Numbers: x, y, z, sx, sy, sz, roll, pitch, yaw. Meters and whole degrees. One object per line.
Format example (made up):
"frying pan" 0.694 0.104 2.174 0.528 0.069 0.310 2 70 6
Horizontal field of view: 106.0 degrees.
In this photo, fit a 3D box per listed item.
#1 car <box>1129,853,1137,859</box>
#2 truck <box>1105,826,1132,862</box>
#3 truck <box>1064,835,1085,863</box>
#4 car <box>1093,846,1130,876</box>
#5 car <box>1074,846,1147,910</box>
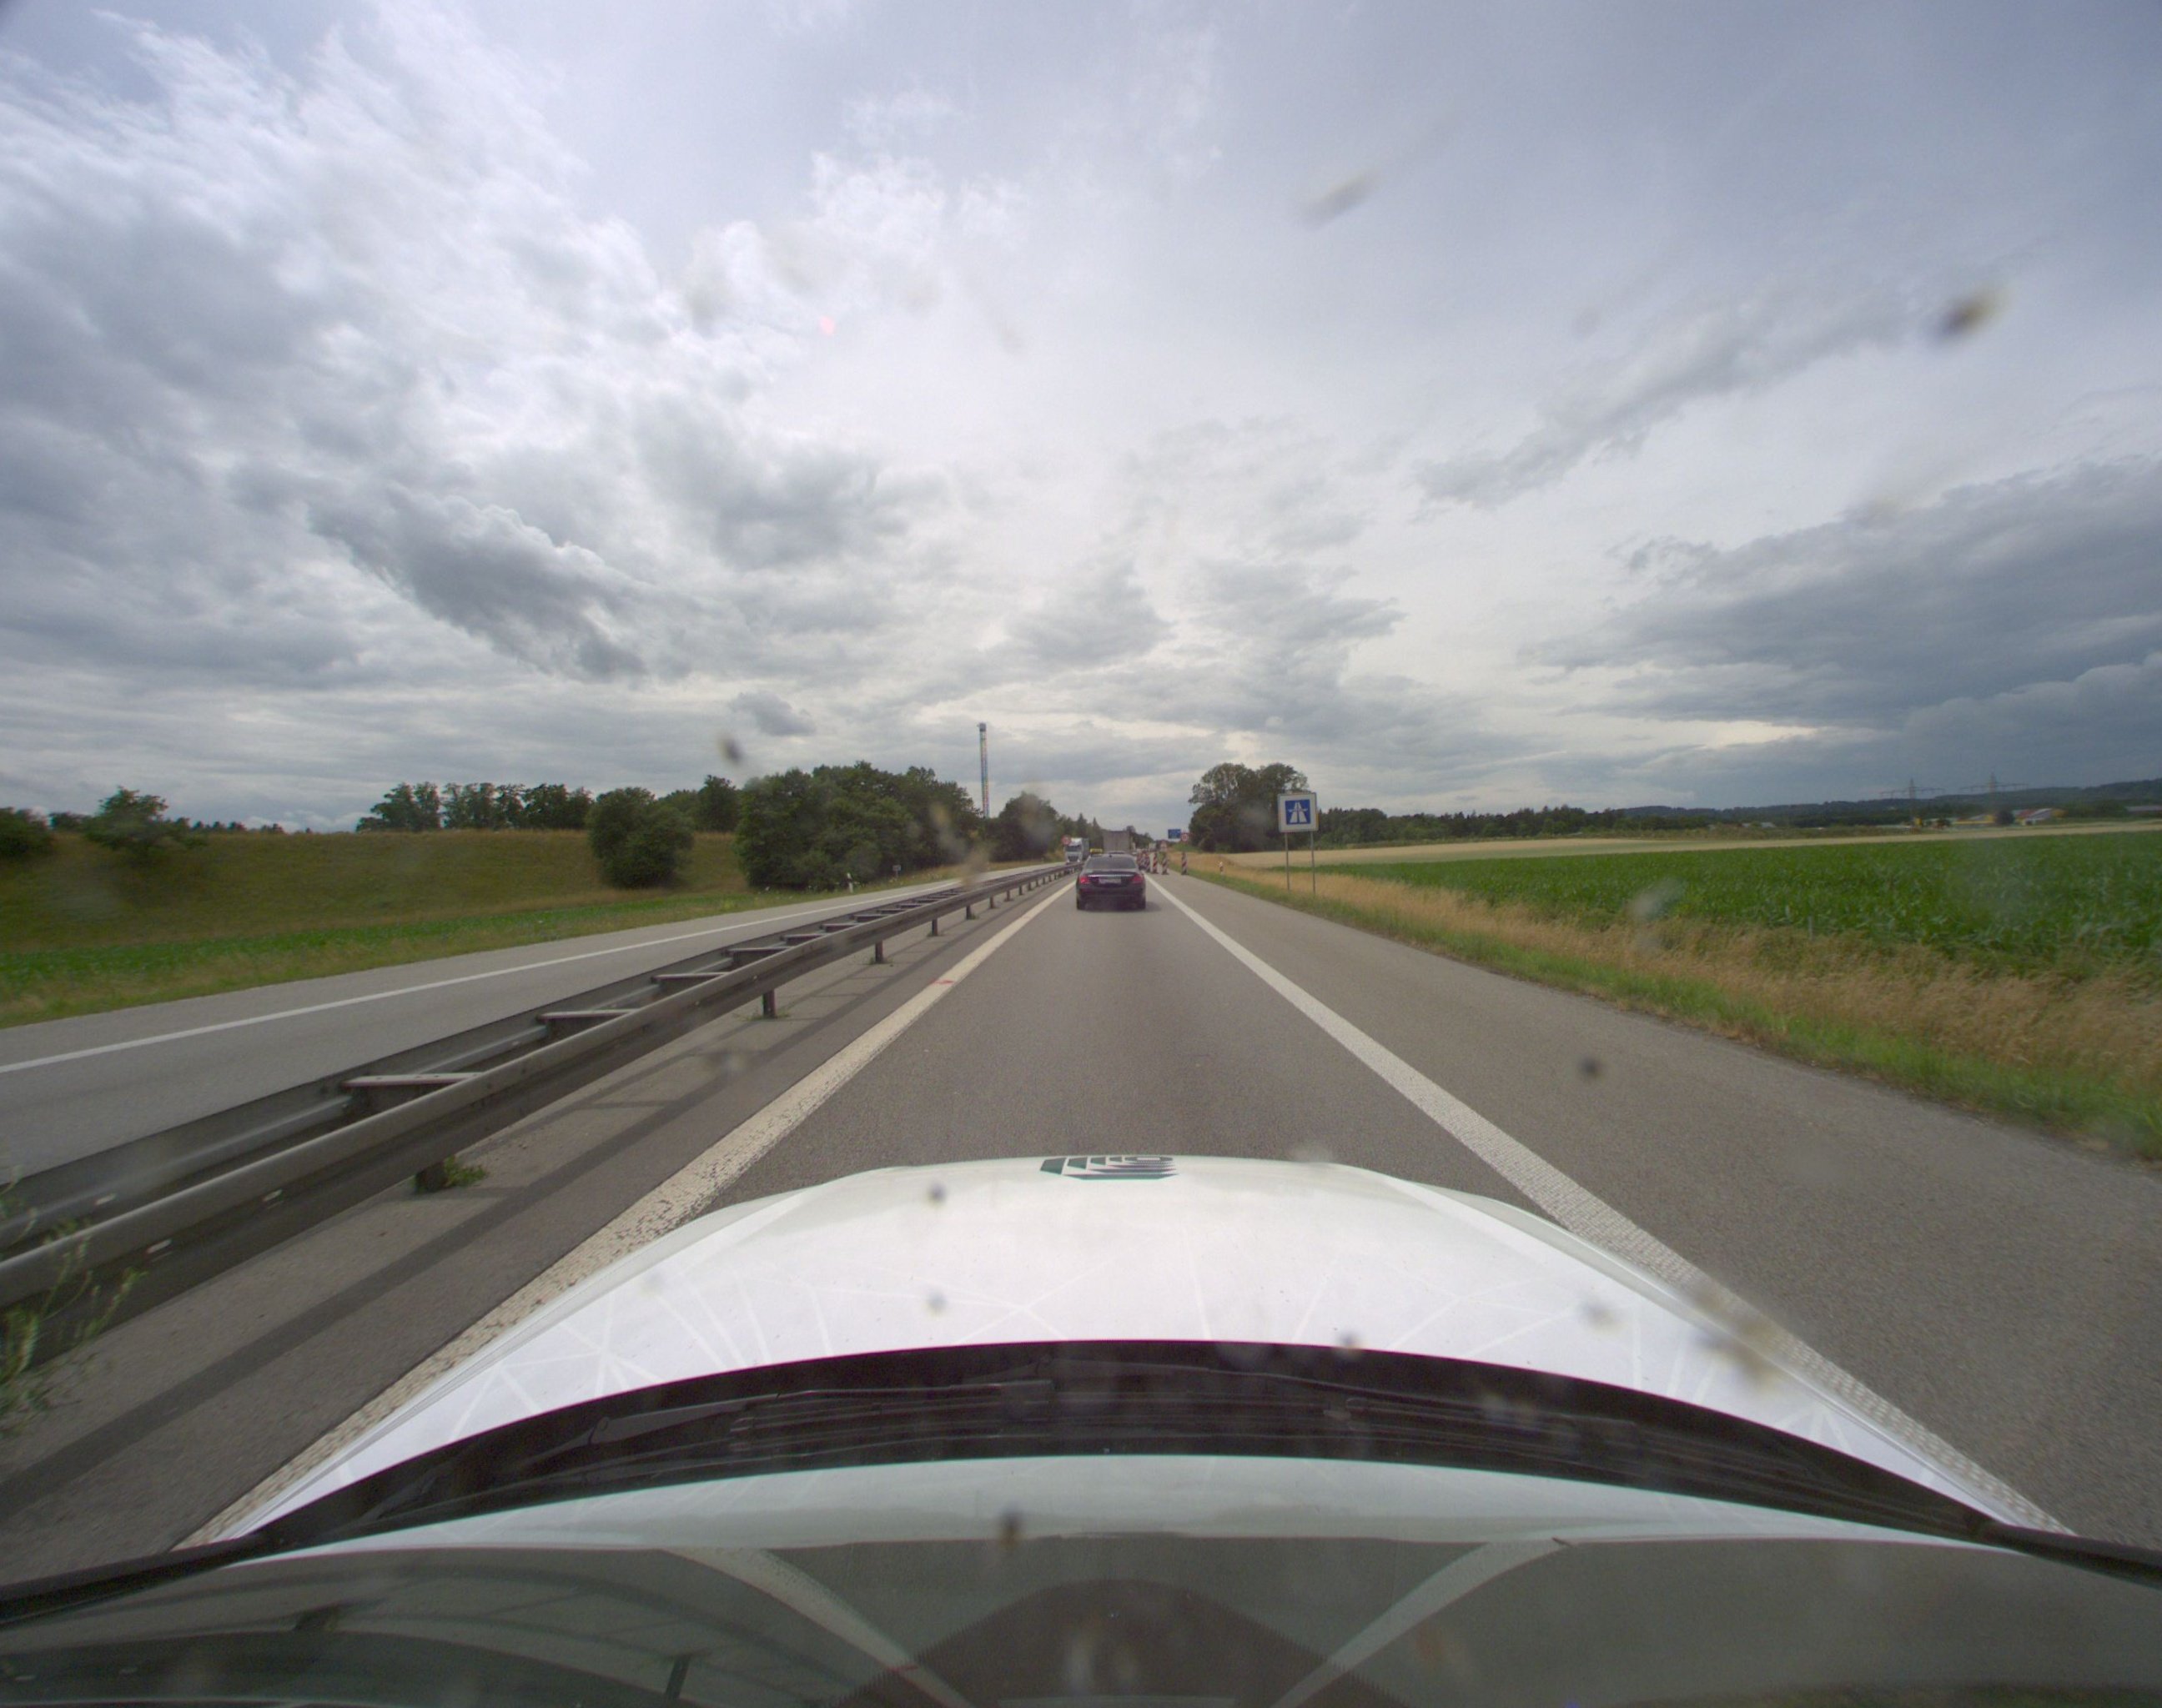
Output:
"car" 12.562 0.437 196.241 1.644 1.395 3.704 0 0 -1
"truck" 3.815 -0.950 82.518 2.577 3.524 4.815 0 -1 2
"truck" -0.979 -0.732 128.460 2.787 4.142 7.234 0 -1 3
"car" 2.047 0.476 55.916 1.990 2.014 3.992 0 -1 -5
"car" 0.802 0.612 22.230 1.789 1.560 4.001 0 0 2
